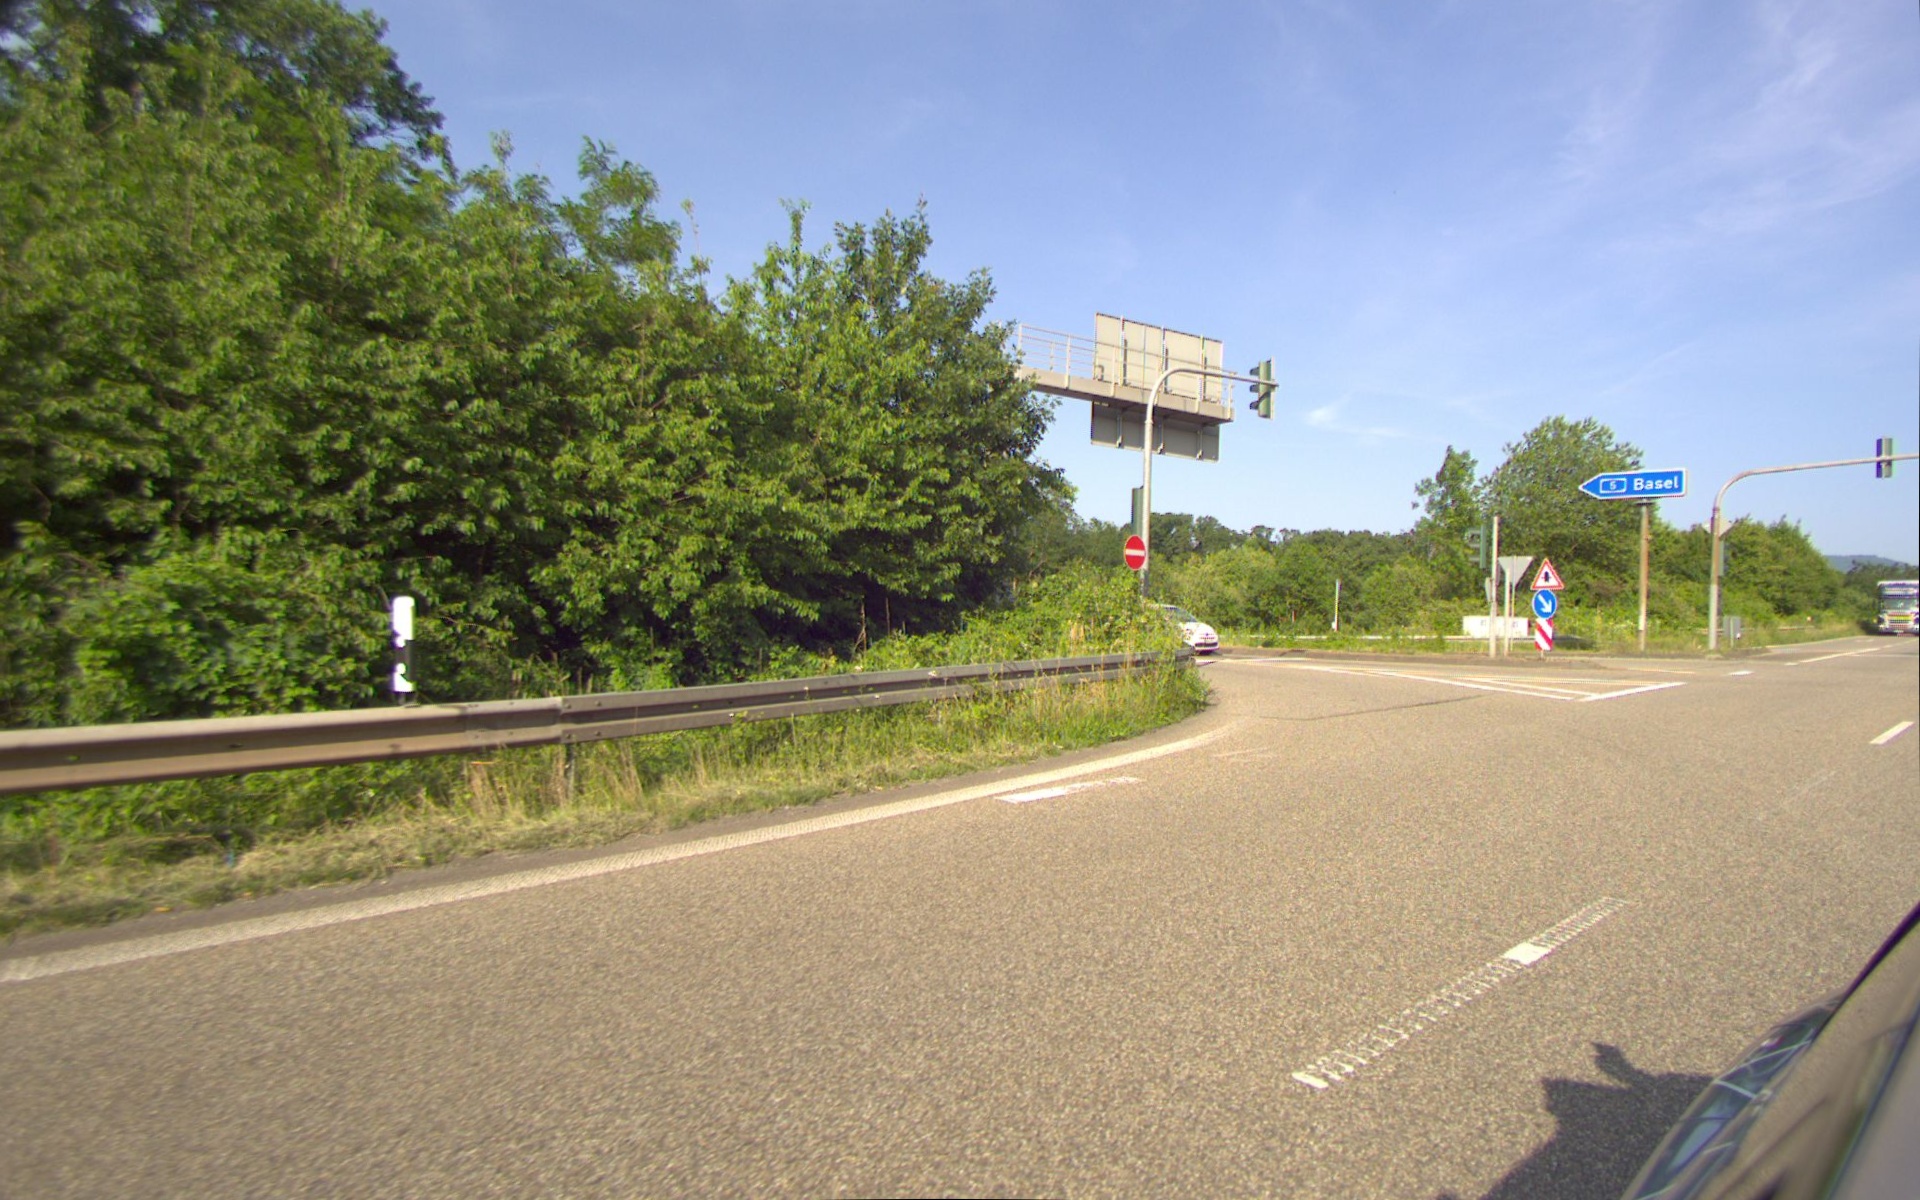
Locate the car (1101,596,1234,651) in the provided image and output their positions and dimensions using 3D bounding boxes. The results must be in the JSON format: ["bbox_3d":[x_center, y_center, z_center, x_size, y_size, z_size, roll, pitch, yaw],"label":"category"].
[{"bbox_3d":[6.098,0.669,30.048,1.775,1.522,3.606,1,-1,-38],"label":"car"}]

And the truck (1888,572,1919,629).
[{"bbox_3d":[73.008,0.076,76.519,14.320,4.070,3.191,1,-1,-44],"label":"truck"}]
